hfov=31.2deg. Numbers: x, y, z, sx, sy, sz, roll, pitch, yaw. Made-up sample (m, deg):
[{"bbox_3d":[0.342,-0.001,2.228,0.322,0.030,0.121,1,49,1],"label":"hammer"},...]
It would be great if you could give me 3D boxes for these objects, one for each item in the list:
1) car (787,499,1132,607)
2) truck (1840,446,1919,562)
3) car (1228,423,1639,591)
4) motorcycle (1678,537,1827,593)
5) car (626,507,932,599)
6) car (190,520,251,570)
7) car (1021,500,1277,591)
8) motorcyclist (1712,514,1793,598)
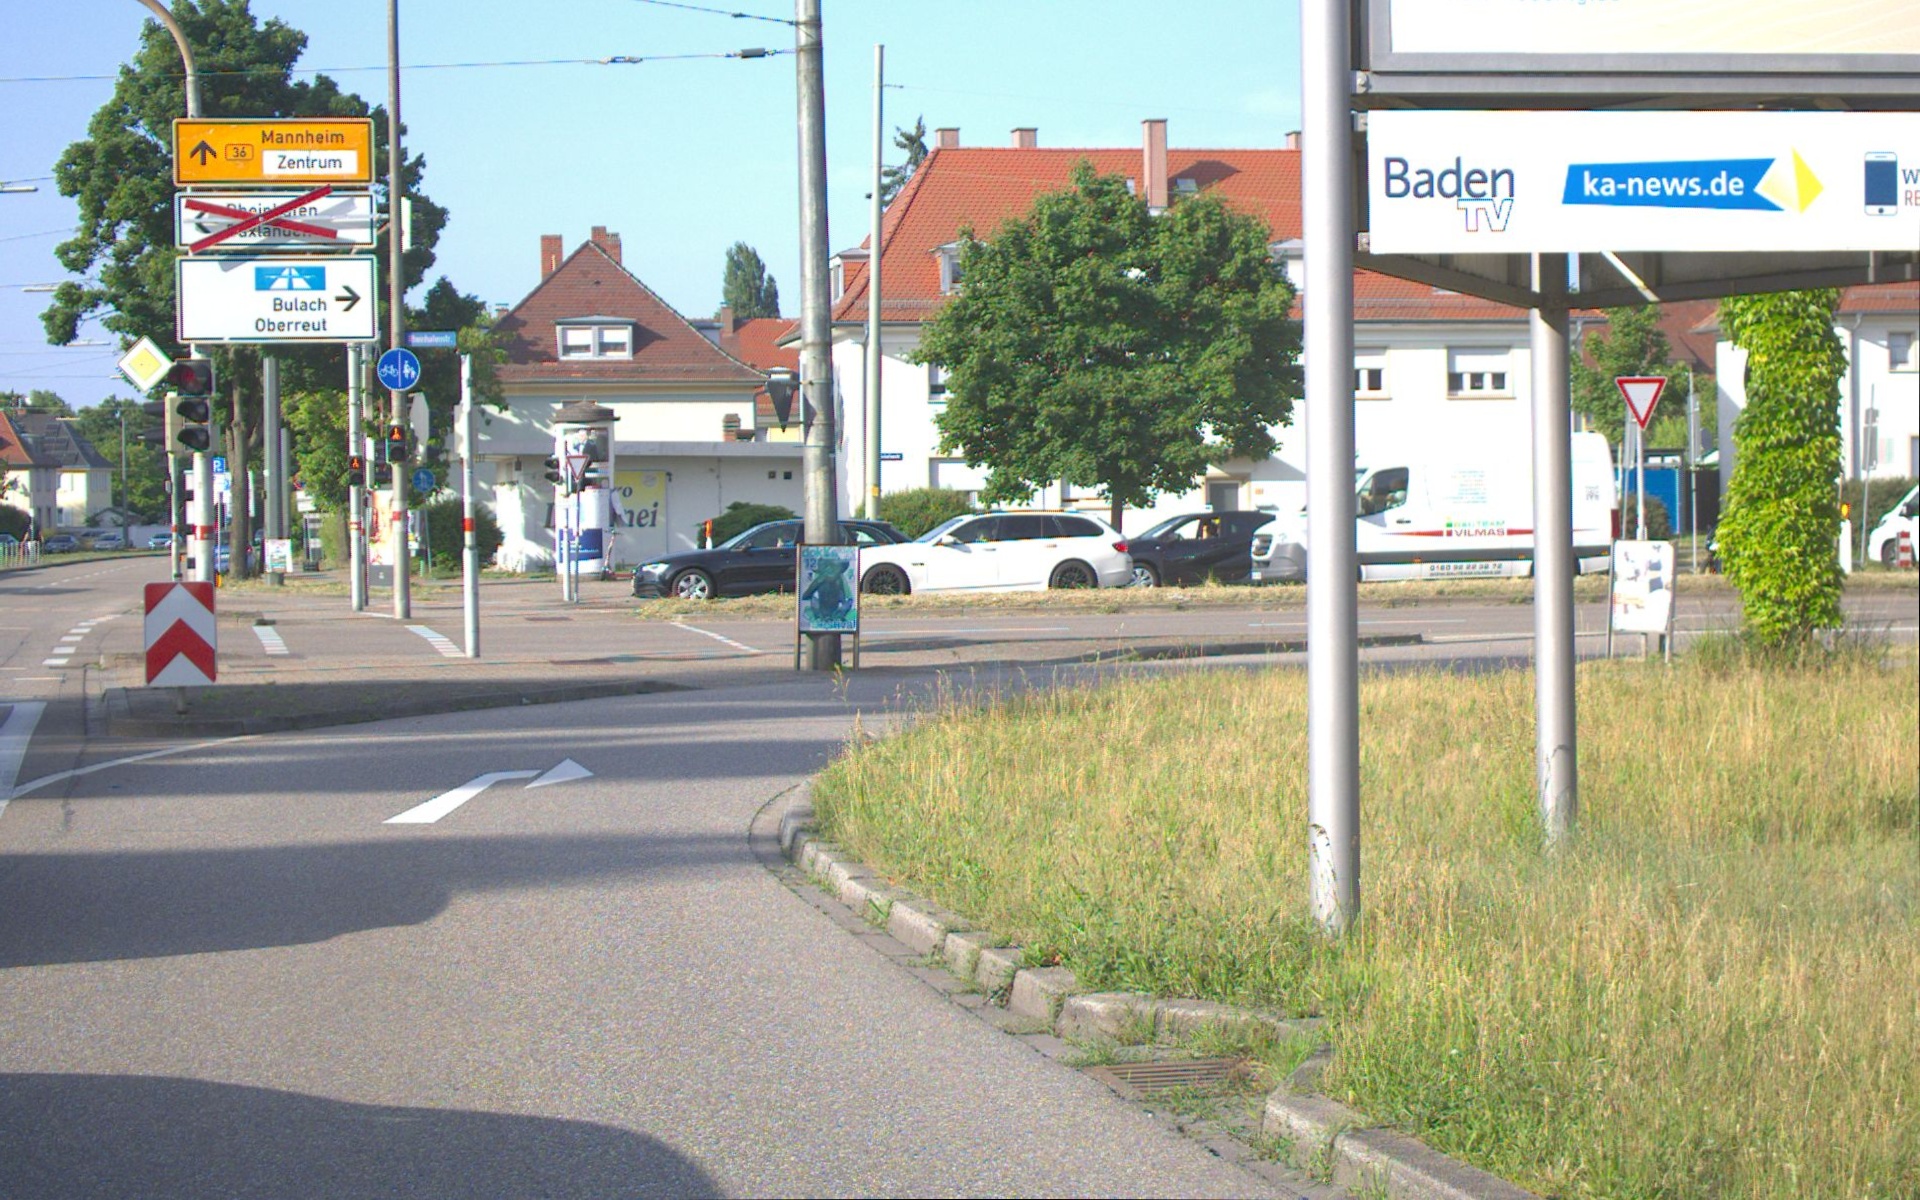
[{"bbox_3d":[-0.030,-0.747,53.684,5.093,1.557,1.840,-1,1,-11],"label":"car"},{"bbox_3d":[22.514,-2.083,74.482,6.353,2.515,2.272,1,3,43],"label":"truck"},{"bbox_3d":[7.600,-1.510,55.330,6.206,2.574,2.001,-1,1,-12],"label":"car"},{"bbox_3d":[12.839,-0.579,55.717,2.270,0.863,0.691,-1,1,-13],"label":"motorcycle"},{"bbox_3d":[-3.001,-0.786,56.824,4.822,1.406,1.716,-1,1,-11],"label":"car"},{"bbox_3d":[-21.155,-1.566,98.409,1.674,1.393,4.001,0,0,-12],"label":"car"},{"bbox_3d":[3.180,-0.932,57.998,3.986,1.448,1.716,-1,1,-11],"label":"car"},{"bbox_3d":[12.840,-0.715,55.710,1.065,1.347,0.680,-1,1,-13],"label":"motorcyclist"}]
